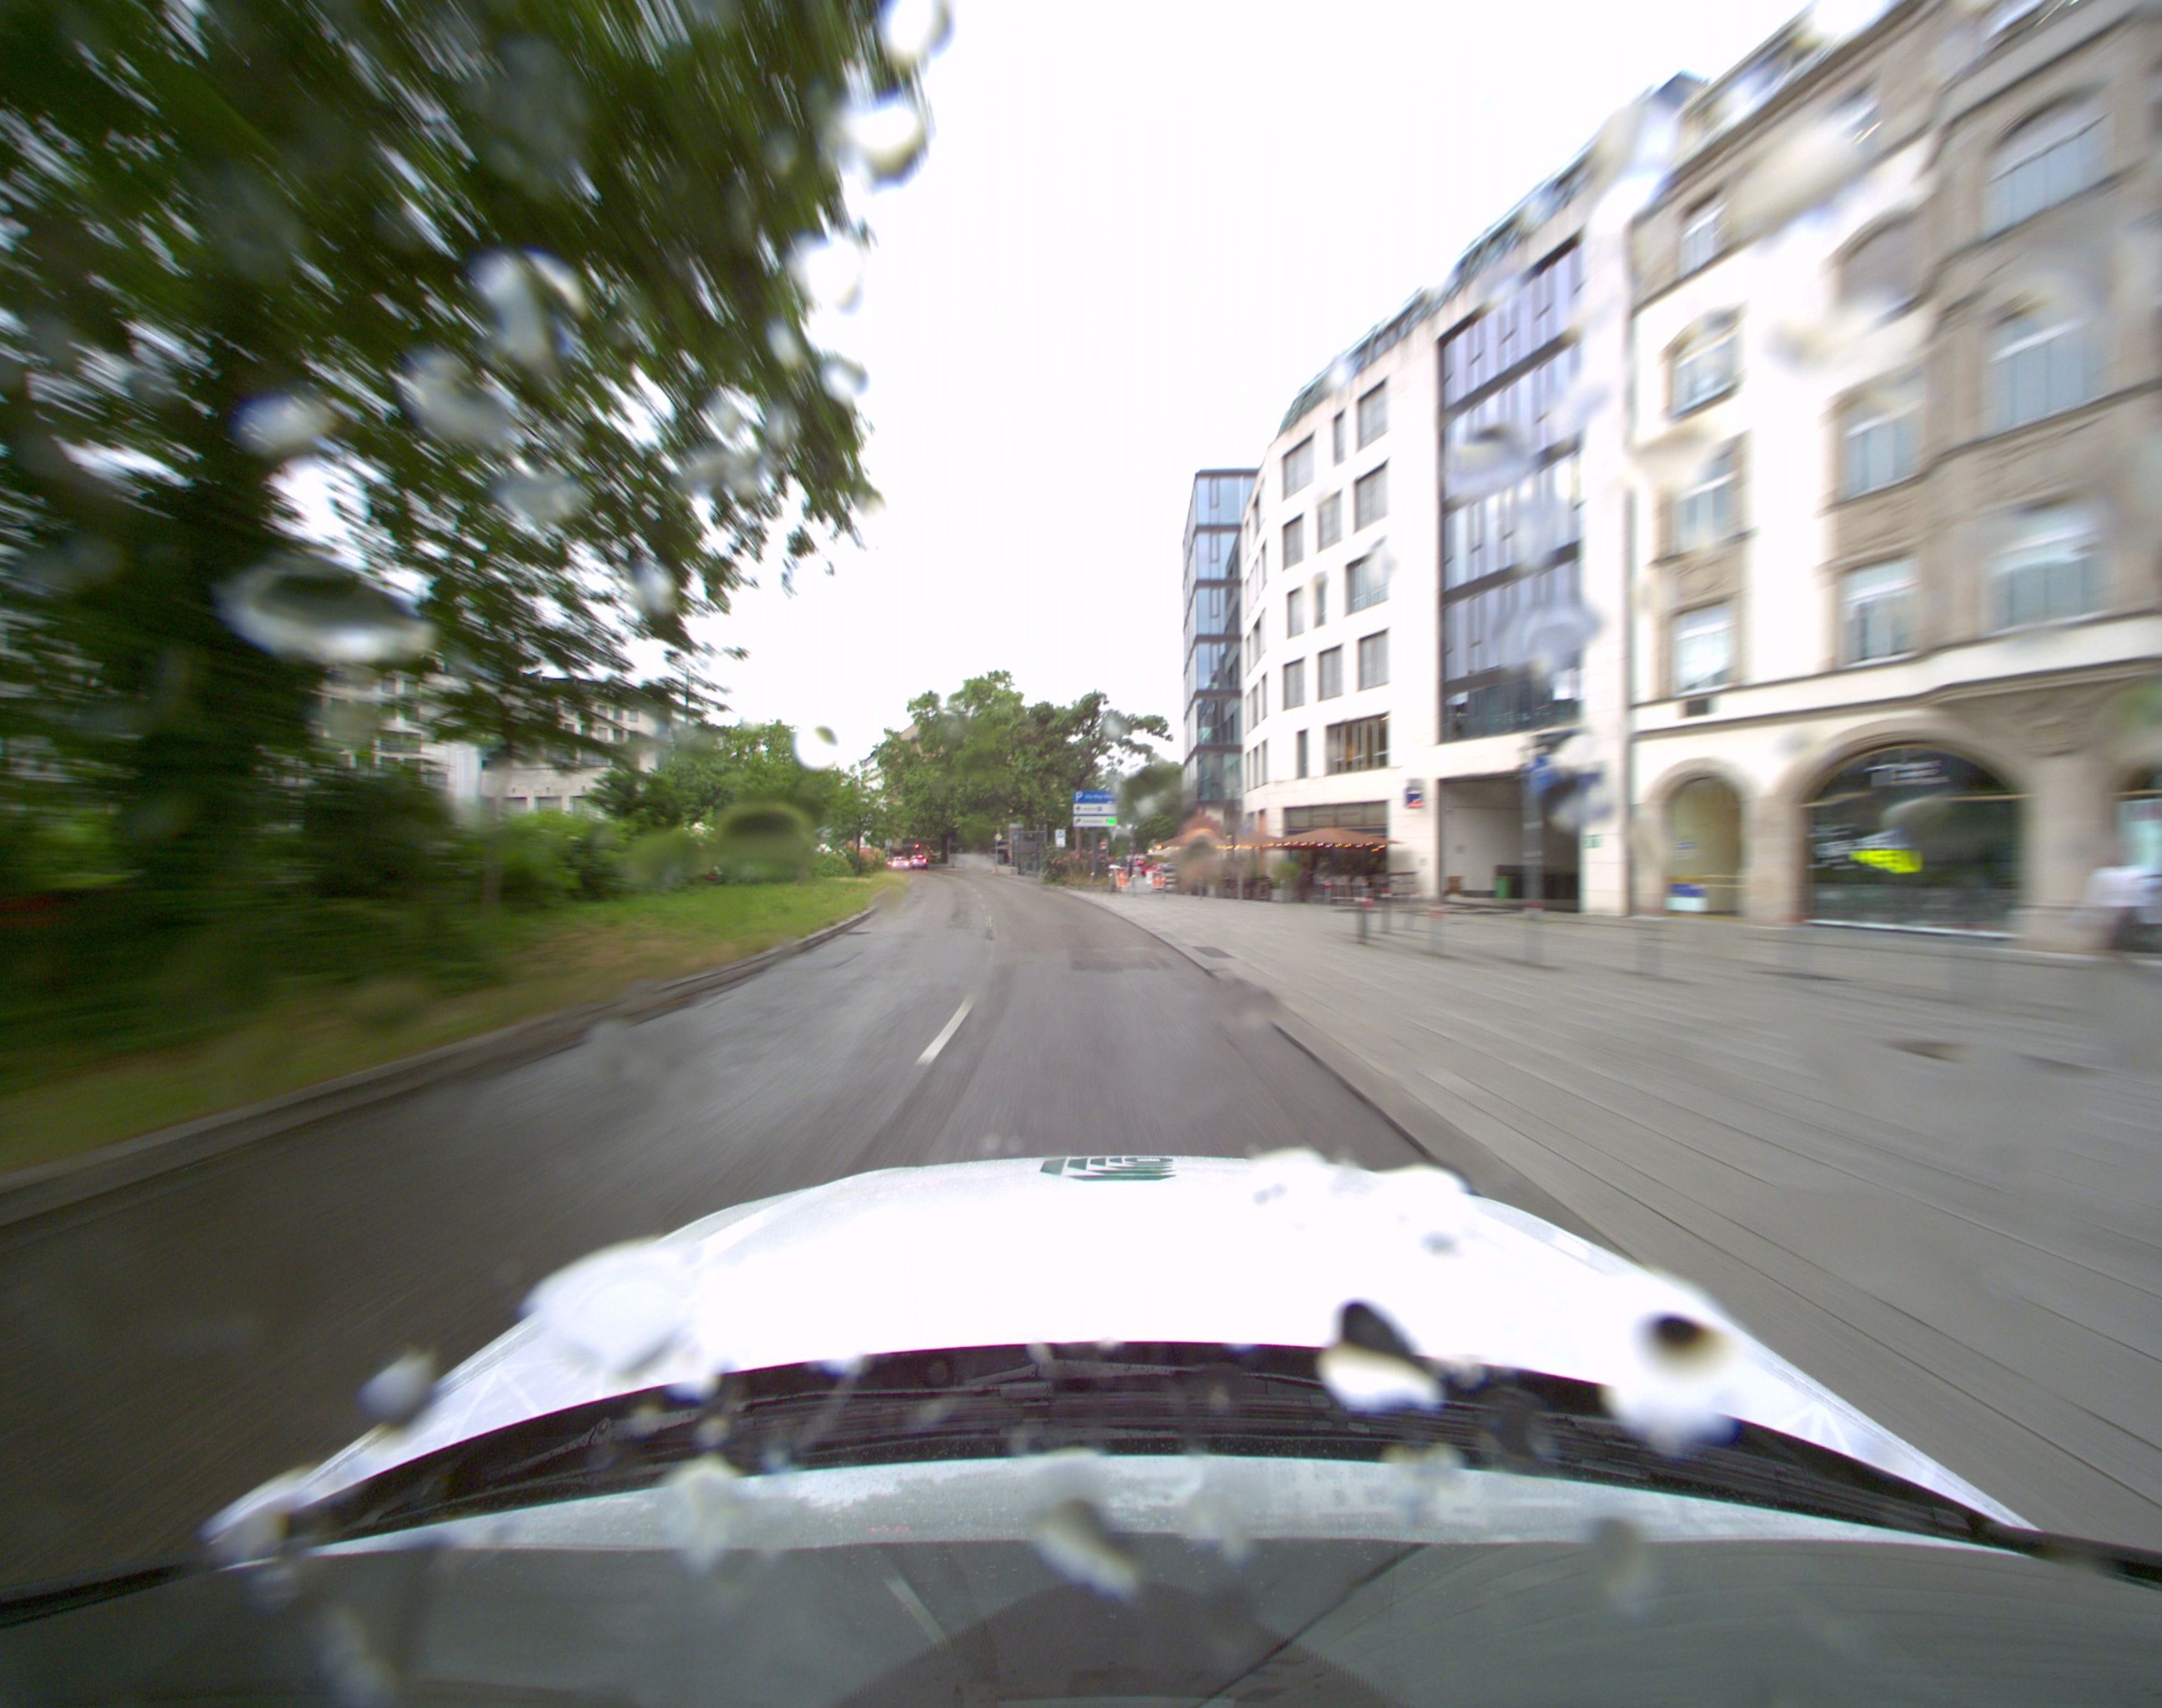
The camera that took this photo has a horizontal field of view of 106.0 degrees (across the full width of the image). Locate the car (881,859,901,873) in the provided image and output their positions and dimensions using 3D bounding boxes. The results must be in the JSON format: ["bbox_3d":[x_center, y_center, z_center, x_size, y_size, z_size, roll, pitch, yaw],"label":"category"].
[{"bbox_3d":[-21.108,1.375,90.474,1.696,1.463,4.103,-2,0,-19],"label":"car"}]

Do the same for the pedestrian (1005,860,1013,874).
[{"bbox_3d":[-7.867,1.417,88.751,0.685,1.410,0.900,3,-2,-15],"label":"pedestrian"}]

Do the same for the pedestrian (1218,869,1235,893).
[{"bbox_3d":[8.238,1.542,46.235,0.814,1.326,0.635,2,-1,0],"label":"pedestrian"}]

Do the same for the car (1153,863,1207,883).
[{"bbox_3d":[9.008,1.741,74.356,4.714,1.691,2.007,1,0,3],"label":"car"}]

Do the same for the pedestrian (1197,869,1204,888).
[{"bbox_3d":[8.676,1.785,59.299,0.433,1.404,0.478,-1,-2,2],"label":"pedestrian"}]

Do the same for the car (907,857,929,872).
[{"bbox_3d":[-19.030,1.284,94.926,1.953,1.666,4.317,1,-1,-19],"label":"car"}]

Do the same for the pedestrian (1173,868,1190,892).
[{"bbox_3d":[5.708,1.467,46.275,0.814,1.326,0.635,2,-1,0],"label":"pedestrian"}]

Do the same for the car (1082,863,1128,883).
[{"bbox_3d":[2.172,1.742,74.739,4.084,1.621,1.862,3,-2,-1],"label":"car"}]

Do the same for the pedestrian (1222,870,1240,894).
[{"bbox_3d":[8.355,1.558,45.425,0.814,1.326,0.635,2,-1,0],"label":"pedestrian"}]

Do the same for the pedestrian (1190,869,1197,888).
[{"bbox_3d":[8.151,1.783,58.929,0.433,1.404,0.478,-1,-2,2],"label":"pedestrian"}]

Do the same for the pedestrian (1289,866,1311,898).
[{"bbox_3d":[9.496,1.217,35.282,0.629,1.326,0.631,3,-2,-20],"label":"pedestrian"}]

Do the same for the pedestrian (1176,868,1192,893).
[{"bbox_3d":[5.742,1.469,45.442,0.814,1.326,0.635,2,-1,0],"label":"pedestrian"}]

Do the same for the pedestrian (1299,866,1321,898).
[{"bbox_3d":[9.712,1.196,34.538,0.629,1.326,0.631,3,-2,-20],"label":"pedestrian"}]

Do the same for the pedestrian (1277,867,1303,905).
[{"bbox_3d":[7.695,1.172,30.018,0.771,1.326,0.635,2,-1,-1],"label":"pedestrian"}]

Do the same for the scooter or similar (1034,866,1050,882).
[{"bbox_3d":[-2.849,1.499,60.010,1.114,1.158,0.441,1,-1,-15],"label":"scooter or similar"}]

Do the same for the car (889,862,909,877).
[{"bbox_3d":[-18.811,1.597,84.230,1.595,1.491,3.482,-2,0,-19],"label":"car"}]

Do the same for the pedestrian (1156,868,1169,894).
[{"bbox_3d":[4.369,1.440,43.774,0.604,1.326,0.567,2,-1,0],"label":"pedestrian"}]

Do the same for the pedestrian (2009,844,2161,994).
[{"bbox_3d":[13.302,0.825,10.670,0.871,1.838,1.245,2,-2,-10],"label":"pedestrian"}]

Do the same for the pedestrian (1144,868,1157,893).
[{"bbox_3d":[3.706,1.405,43.684,0.604,1.326,0.567,2,-1,0],"label":"pedestrian"}]

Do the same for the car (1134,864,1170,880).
[{"bbox_3d":[7.121,1.807,82.098,1.622,1.416,3.487,3,-1,-40],"label":"car"}]
